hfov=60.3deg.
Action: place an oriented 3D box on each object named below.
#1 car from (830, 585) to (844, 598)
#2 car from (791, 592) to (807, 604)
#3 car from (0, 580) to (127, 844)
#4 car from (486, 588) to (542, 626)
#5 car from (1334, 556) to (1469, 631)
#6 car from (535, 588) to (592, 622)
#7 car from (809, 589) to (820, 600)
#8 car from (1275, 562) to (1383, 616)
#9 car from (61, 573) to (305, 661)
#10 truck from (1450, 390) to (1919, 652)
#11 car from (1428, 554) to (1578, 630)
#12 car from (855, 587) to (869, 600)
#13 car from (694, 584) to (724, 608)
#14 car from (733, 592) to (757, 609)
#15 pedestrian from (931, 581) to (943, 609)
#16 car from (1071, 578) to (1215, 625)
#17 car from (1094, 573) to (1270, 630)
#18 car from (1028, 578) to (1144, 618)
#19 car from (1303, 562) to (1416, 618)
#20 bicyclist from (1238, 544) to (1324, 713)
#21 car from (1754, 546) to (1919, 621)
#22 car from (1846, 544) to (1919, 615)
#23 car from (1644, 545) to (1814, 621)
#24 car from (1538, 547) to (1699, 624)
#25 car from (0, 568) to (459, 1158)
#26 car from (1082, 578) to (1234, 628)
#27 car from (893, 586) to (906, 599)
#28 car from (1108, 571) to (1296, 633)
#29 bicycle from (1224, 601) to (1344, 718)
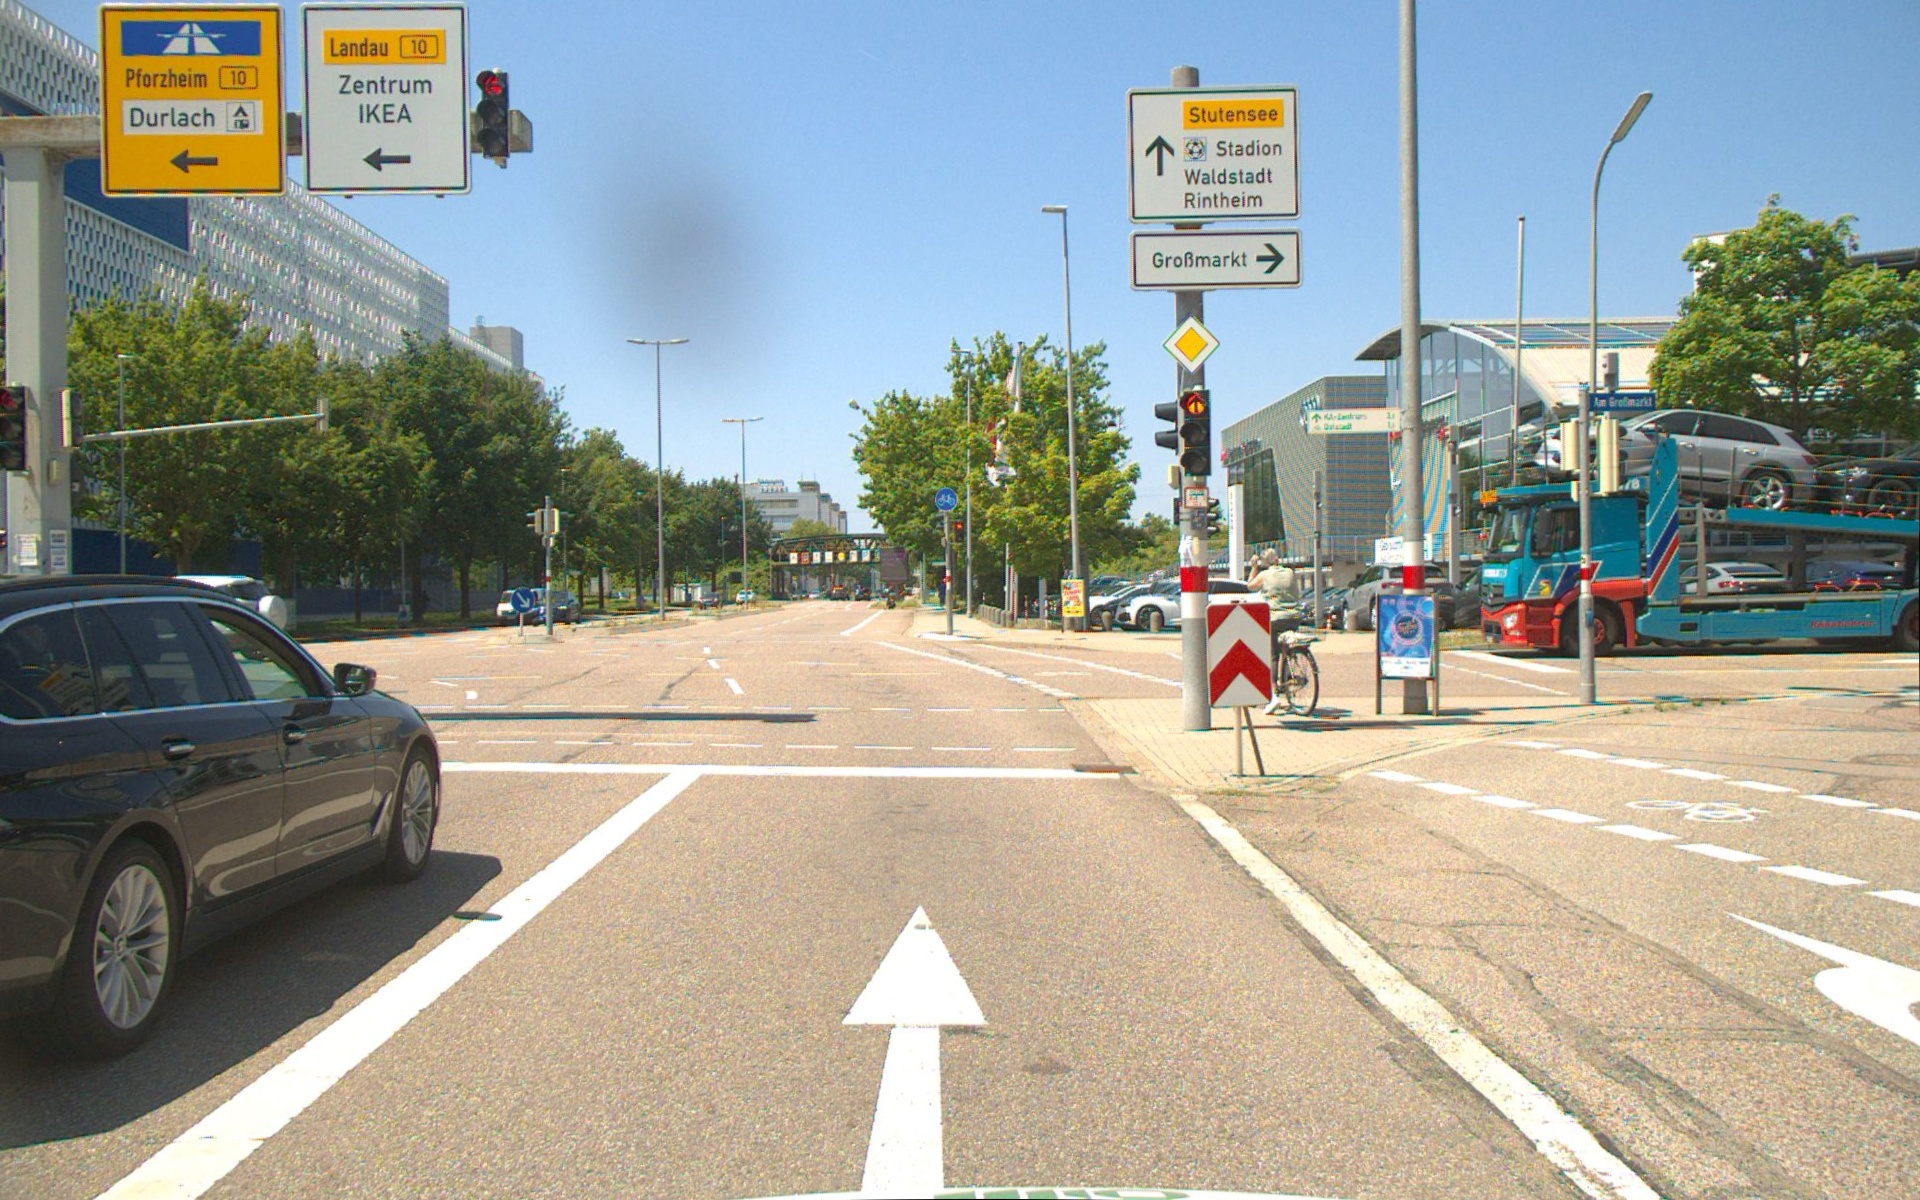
[{"bbox_3d":[-16.712,-1.127,224.745,1.736,1.758,3.999,-1,0,-2],"label":"car"},{"bbox_3d":[-20.614,-0.244,212.244,1.697,1.452,3.705,-3,0,-2],"label":"car"},{"bbox_3d":[-6.381,0.648,9.312,1.763,1.520,3.994,0,1,-7],"label":"car"},{"bbox_3d":[-25.099,0.389,93.250,1.953,2.042,4.763,-1,0,-1],"label":"car"},{"bbox_3d":[10.419,-0.193,39.355,1.953,1.668,4.267,-1,1,-2],"label":"car"},{"bbox_3d":[-19.720,0.240,82.511,1.837,1.626,4.495,-2,0,-2],"label":"car"},{"bbox_3d":[-22.300,-0.854,253.953,1.616,1.682,4.160,-1,1,-4],"label":"car"},{"bbox_3d":[14.939,-0.452,67.137,3.906,2.049,2.000,-1,0,-1],"label":"car"},{"bbox_3d":[-15.405,0.322,32.865,4.105,1.680,1.716,-1,1,9],"label":"car"},{"bbox_3d":[14.141,-1.362,28.650,10.394,4.153,3.103,-1,1,4],"label":"truck"},{"bbox_3d":[12.849,-0.233,39.421,1.953,1.668,4.556,-1,1,-2],"label":"car"},{"bbox_3d":[-13.574,-0.952,229.928,1.736,1.758,3.999,-1,0,-2],"label":"car"},{"bbox_3d":[-22.766,-0.382,150.218,1.952,2.049,4.001,-1,-1,2],"label":"car"},{"bbox_3d":[-22.841,0.075,175.914,1.887,1.694,4.089,-1,0,1],"label":"car"},{"bbox_3d":[-1.317,-0.287,93.473,0.654,1.537,0.736,-1,0,-2],"label":"pedestrian"},{"bbox_3d":[6.254,0.034,56.829,4.647,1.482,1.999,-1,1,-3],"label":"car"},{"bbox_3d":[6.168,0.040,46.302,4.644,1.482,2.000,-1,0,0],"label":"car"},{"bbox_3d":[5.282,-0.110,69.878,4.647,1.482,1.999,-2,1,-3],"label":"car"},{"bbox_3d":[15.665,-0.396,64.921,3.906,2.049,2.000,-1,0,-1],"label":"car"},{"bbox_3d":[3.461,0.293,17.868,0.719,1.779,0.753,0,1,-6],"label":"bicyclist"},{"bbox_3d":[21.136,-0.425,39.822,1.791,1.668,4.473,-1,1,-2],"label":"car"},{"bbox_3d":[23.581,-0.519,39.952,1.791,1.668,4.472,-1,1,-3],"label":"car"},{"bbox_3d":[18.330,-0.429,39.656,1.847,1.668,4.523,-1,1,-2],"label":"car"},{"bbox_3d":[15.626,-0.377,39.509,1.953,1.668,4.440,-2,1,-2],"label":"car"},{"bbox_3d":[-3.400,0.630,6.284,1.764,1.491,4.621,0,1,-3],"label":"car"},{"bbox_3d":[6.422,0.080,54.034,4.647,1.482,1.999,-1,1,-3],"label":"car"},{"bbox_3d":[-8.323,-1.062,229.385,1.736,1.758,3.999,-1,0,-2],"label":"car"},{"bbox_3d":[6.293,0.033,43.391,4.644,1.482,2.000,-1,1,0],"label":"car"},{"bbox_3d":[3.481,0.612,17.951,0.771,1.147,1.919,0,1,-5],"label":"bicycle"}]
